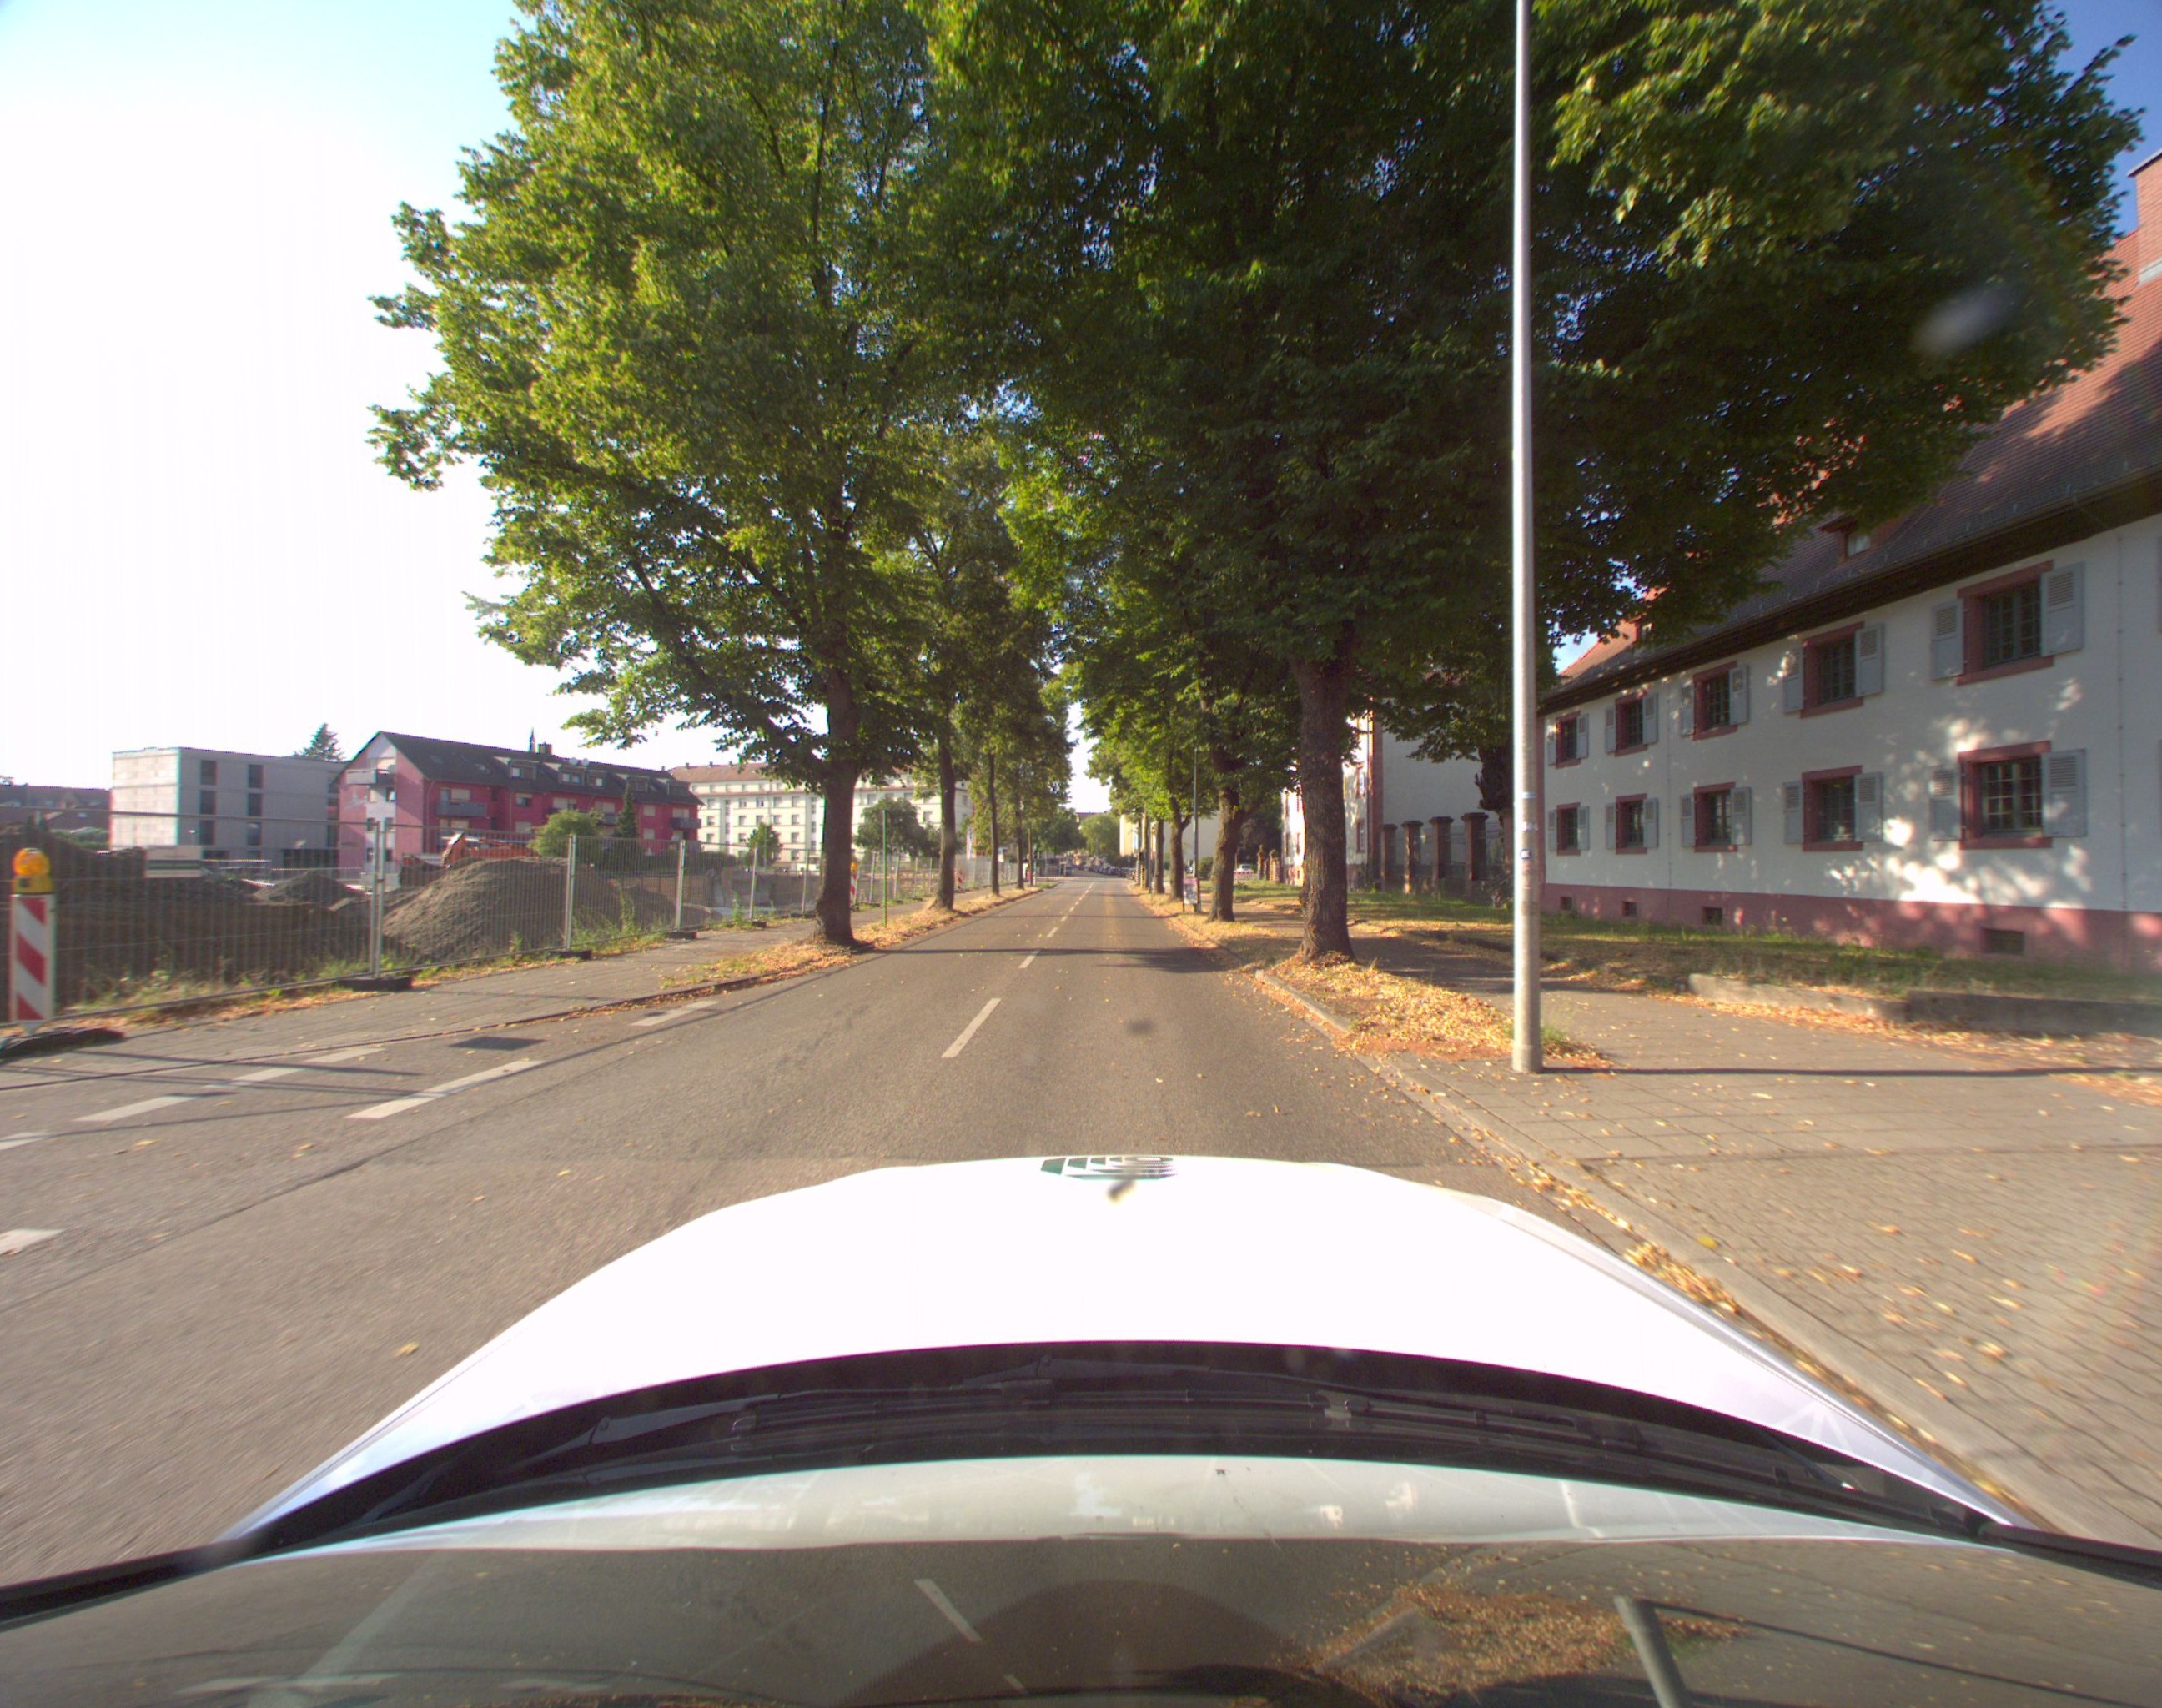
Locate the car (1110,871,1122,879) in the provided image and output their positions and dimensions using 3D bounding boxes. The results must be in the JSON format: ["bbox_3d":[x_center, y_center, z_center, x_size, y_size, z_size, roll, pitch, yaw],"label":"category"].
[{"bbox_3d":[6.493,3.830,150.287,1.836,1.386,3.997,-1,-1,-2],"label":"car"}]

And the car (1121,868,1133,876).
[{"bbox_3d":[7.436,2.971,132.067,1.834,1.261,4.000,-1,-1,1],"label":"car"}]

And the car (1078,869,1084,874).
[{"bbox_3d":[-0.012,5.062,238.993,1.709,1.486,3.996,-1,-2,-2],"label":"car"}]

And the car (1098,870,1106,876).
[{"bbox_3d":[4.966,4.426,194.008,1.836,1.386,3.997,0,-1,-2],"label":"car"}]

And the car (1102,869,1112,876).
[{"bbox_3d":[5.461,3.928,173.236,1.836,1.386,3.997,0,-1,-2],"label":"car"}]

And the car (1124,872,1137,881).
[{"bbox_3d":[7.571,3.414,125.520,1.834,1.261,4.000,-1,-1,1],"label":"car"}]

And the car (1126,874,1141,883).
[{"bbox_3d":[7.377,3.452,114.870,1.834,1.261,4.000,-1,-1,1],"label":"car"}]

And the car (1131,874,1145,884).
[{"bbox_3d":[7.647,3.353,109.239,1.773,1.227,4.000,-1,-1,1],"label":"car"}]

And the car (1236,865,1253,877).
[{"bbox_3d":[22.033,2.330,109.635,1.804,1.559,3.629,2,-2,4],"label":"car"}]

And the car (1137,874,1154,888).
[{"bbox_3d":[7.754,3.253,97.974,1.834,1.574,4.000,-1,-1,1],"label":"car"}]

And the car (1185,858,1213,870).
[{"bbox_3d":[17.697,1.559,122.475,3.971,1.728,1.774,1,-1,2],"label":"car"}]

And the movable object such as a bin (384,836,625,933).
[{"bbox_3d":[-33.393,1.645,48.140,2.982,4.993,11.626,-3,-1,24],"label":"movable object such as a bin"}]

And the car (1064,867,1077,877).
[{"bbox_3d":[-1.823,3.051,137.572,1.990,1.688,3.994,0,-2,-4],"label":"car"}]

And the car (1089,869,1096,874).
[{"bbox_3d":[3.212,4.887,223.352,1.836,1.386,3.997,-1,-1,-2],"label":"car"}]

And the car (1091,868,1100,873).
[{"bbox_3d":[3.558,4.050,200.481,1.836,1.386,3.997,0,-1,-2],"label":"car"}]

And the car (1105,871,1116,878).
[{"bbox_3d":[5.889,4.057,161.291,1.836,1.386,3.997,0,-1,-2],"label":"car"}]
